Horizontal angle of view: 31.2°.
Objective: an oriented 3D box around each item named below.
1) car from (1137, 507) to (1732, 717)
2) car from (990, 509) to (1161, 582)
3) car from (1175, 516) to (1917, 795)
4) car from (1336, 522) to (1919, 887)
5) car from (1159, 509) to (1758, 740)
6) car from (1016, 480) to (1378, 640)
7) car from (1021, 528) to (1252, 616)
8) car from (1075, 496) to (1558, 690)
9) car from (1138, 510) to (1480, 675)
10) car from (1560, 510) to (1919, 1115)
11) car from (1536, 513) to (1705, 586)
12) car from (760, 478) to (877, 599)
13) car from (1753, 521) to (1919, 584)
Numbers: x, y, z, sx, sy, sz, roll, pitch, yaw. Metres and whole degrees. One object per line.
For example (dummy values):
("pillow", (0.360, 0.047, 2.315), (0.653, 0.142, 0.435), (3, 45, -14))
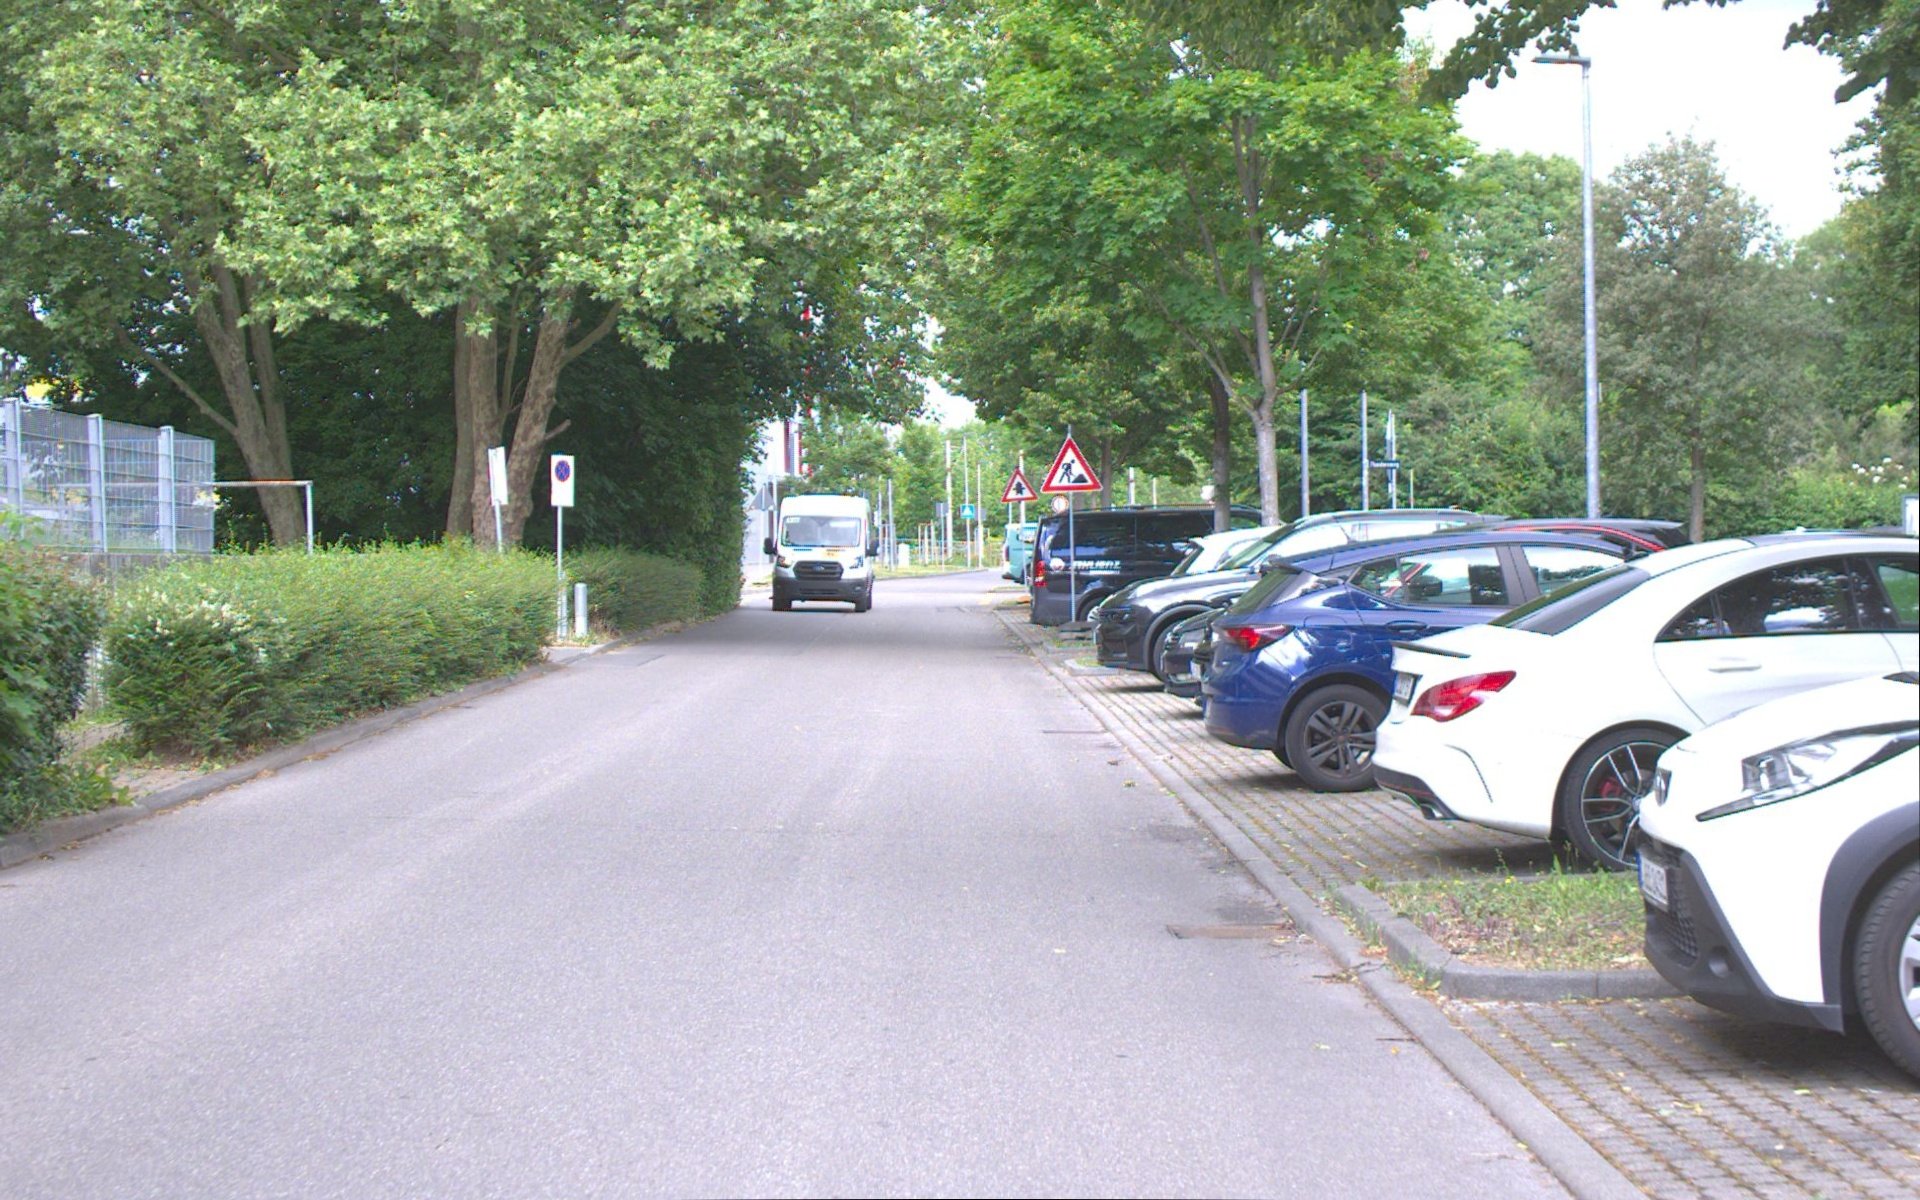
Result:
("car", (3.840, 0.071, 28.450), (4.636, 1.512, 1.982), (-2, 2, 2))
("car", (3.420, -1.623, 102.340), (4.972, 1.965, 1.847), (-2, 1, 1))
("car", (3.398, 0.301, 20.516), (4.072, 1.451, 1.851), (-2, 1, 0))
("car", (4.052, 0.390, 15.358), (4.485, 1.449, 1.846), (-2, 1, 0))
("car", (3.645, 0.158, 25.607), (4.072, 1.512, 1.851), (-2, 1, -4))
("car", (3.316, -0.578, 49.034), (4.954, 2.007, 2.166), (-3, 1, 1))
("car", (3.137, -0.505, 61.783), (3.987, 1.425, 1.936), (-2, 0, -1))
("car", (3.405, -0.094, 33.523), (4.415, 1.670, 2.082), (-2, 2, -1))
("car", (3.630, -0.104, 36.193), (3.379, 1.569, 1.796), (-2, 2, 0))
("car", (3.751, 0.469, 9.560), (3.840, 1.510, 1.881), (-2, 1, 3))
("car", (15.564, -1.188, 81.170), (3.780, 1.662, 1.767), (-1, 1, 7))
("car", (-2.982, -1.336, 73.966), (2.132, 2.467, 6.277), (1, 1, 1))
("car", (20.946, -1.117, 80.634), (4.393, 1.423, 1.703), (0, 1, 6))
